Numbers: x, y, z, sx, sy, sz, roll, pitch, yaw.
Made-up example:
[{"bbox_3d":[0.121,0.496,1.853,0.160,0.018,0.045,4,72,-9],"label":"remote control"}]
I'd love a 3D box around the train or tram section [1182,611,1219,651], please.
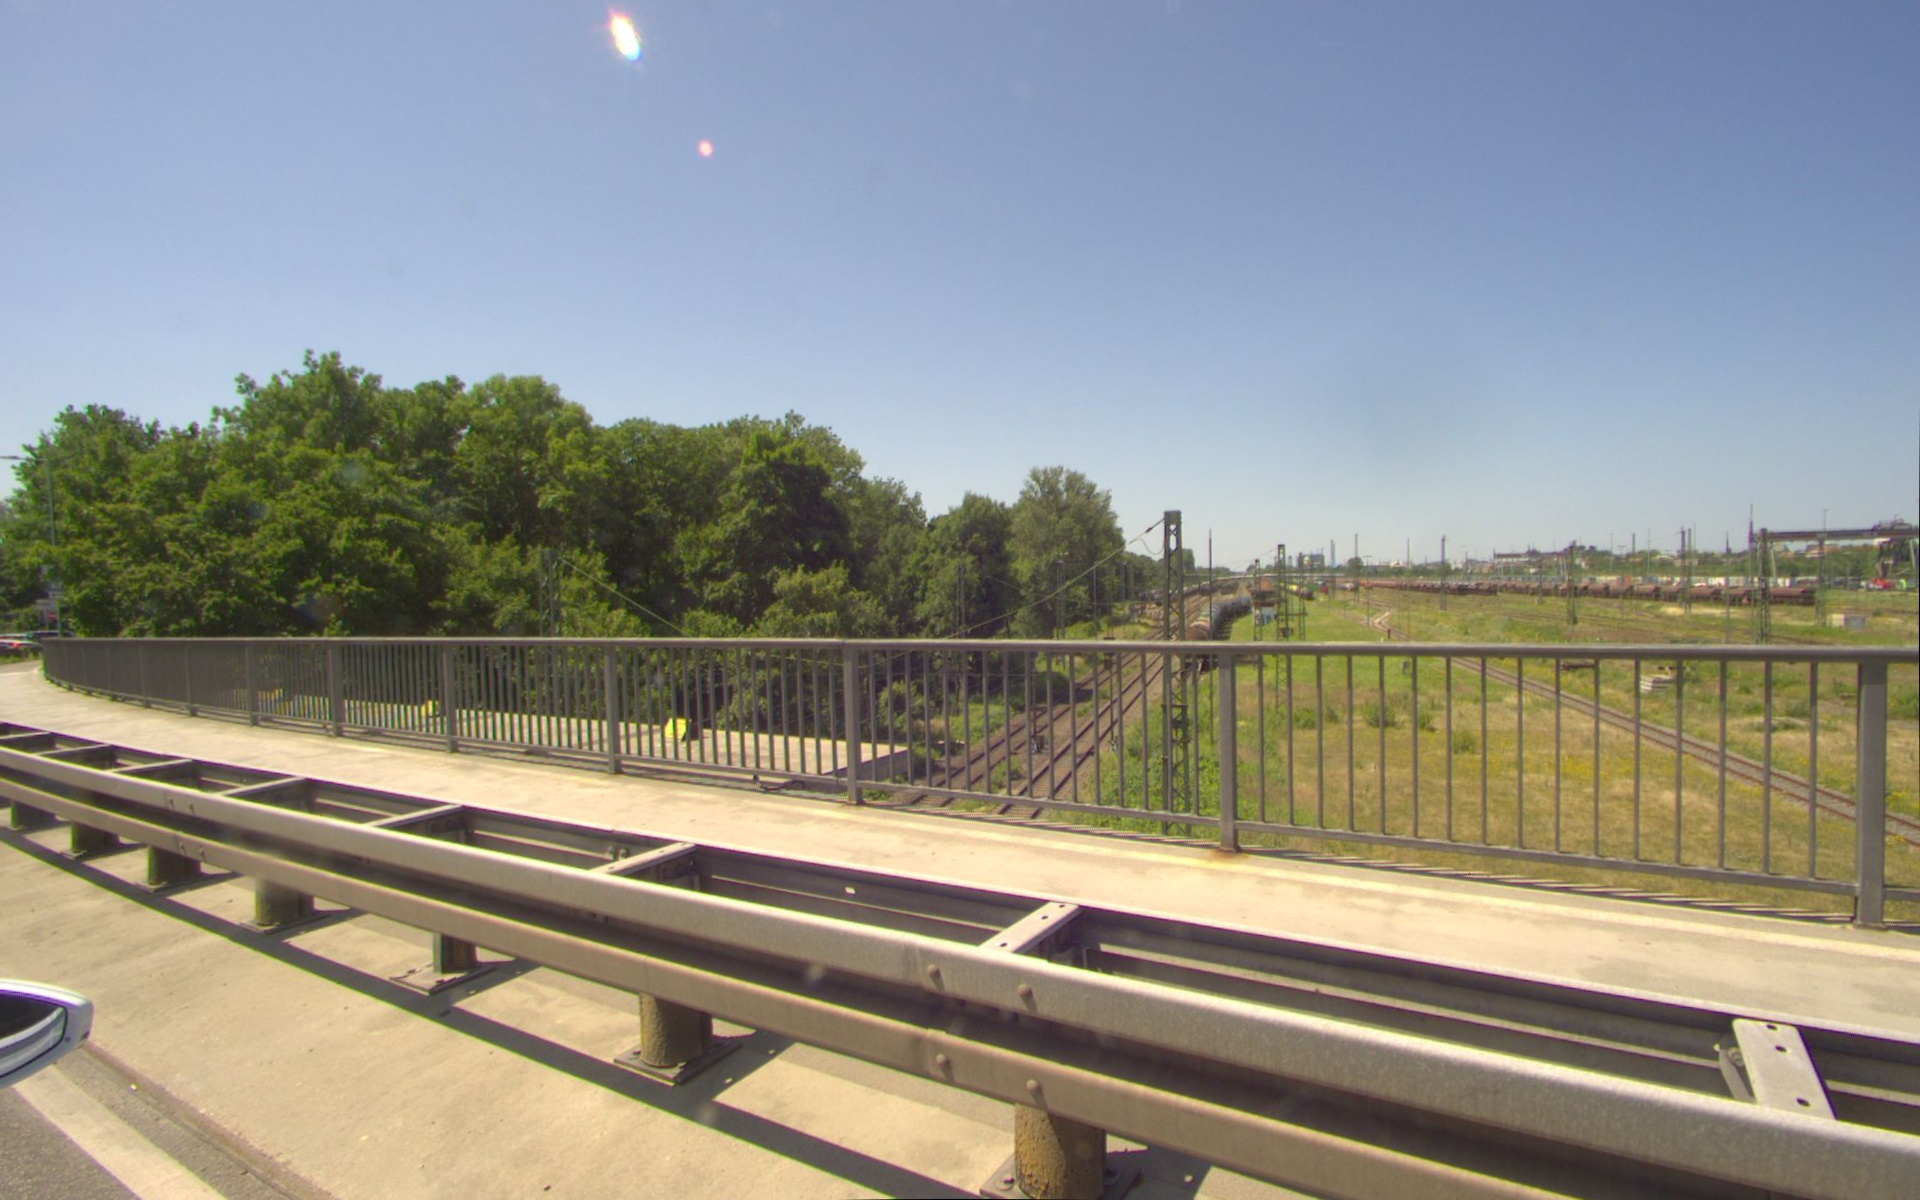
[{"bbox_3d":[32.089,4.028,133.162,3.783,4.366,13.603,-2,1,18],"label":"train or tram section"}]

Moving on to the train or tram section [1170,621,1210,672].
[{"bbox_3d":[24.651,4.827,106.974,3.781,4.366,13.612,-2,1,14],"label":"train or tram section"}]

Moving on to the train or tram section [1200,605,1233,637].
[{"bbox_3d":[40.796,3.214,158.877,3.784,4.366,13.599,-2,1,19],"label":"train or tram section"}]

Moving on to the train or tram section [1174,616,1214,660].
[{"bbox_3d":[28.198,4.435,120.156,3.783,4.366,13.605,-2,1,17],"label":"train or tram section"}]

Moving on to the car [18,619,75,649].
[{"bbox_3d":[-56.313,2.122,61.804,1.666,1.783,3.982,0,-2,-29],"label":"car"}]

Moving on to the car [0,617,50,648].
[{"bbox_3d":[-52.901,1.860,56.158,1.972,1.594,3.981,2,-4,-31],"label":"car"}]
